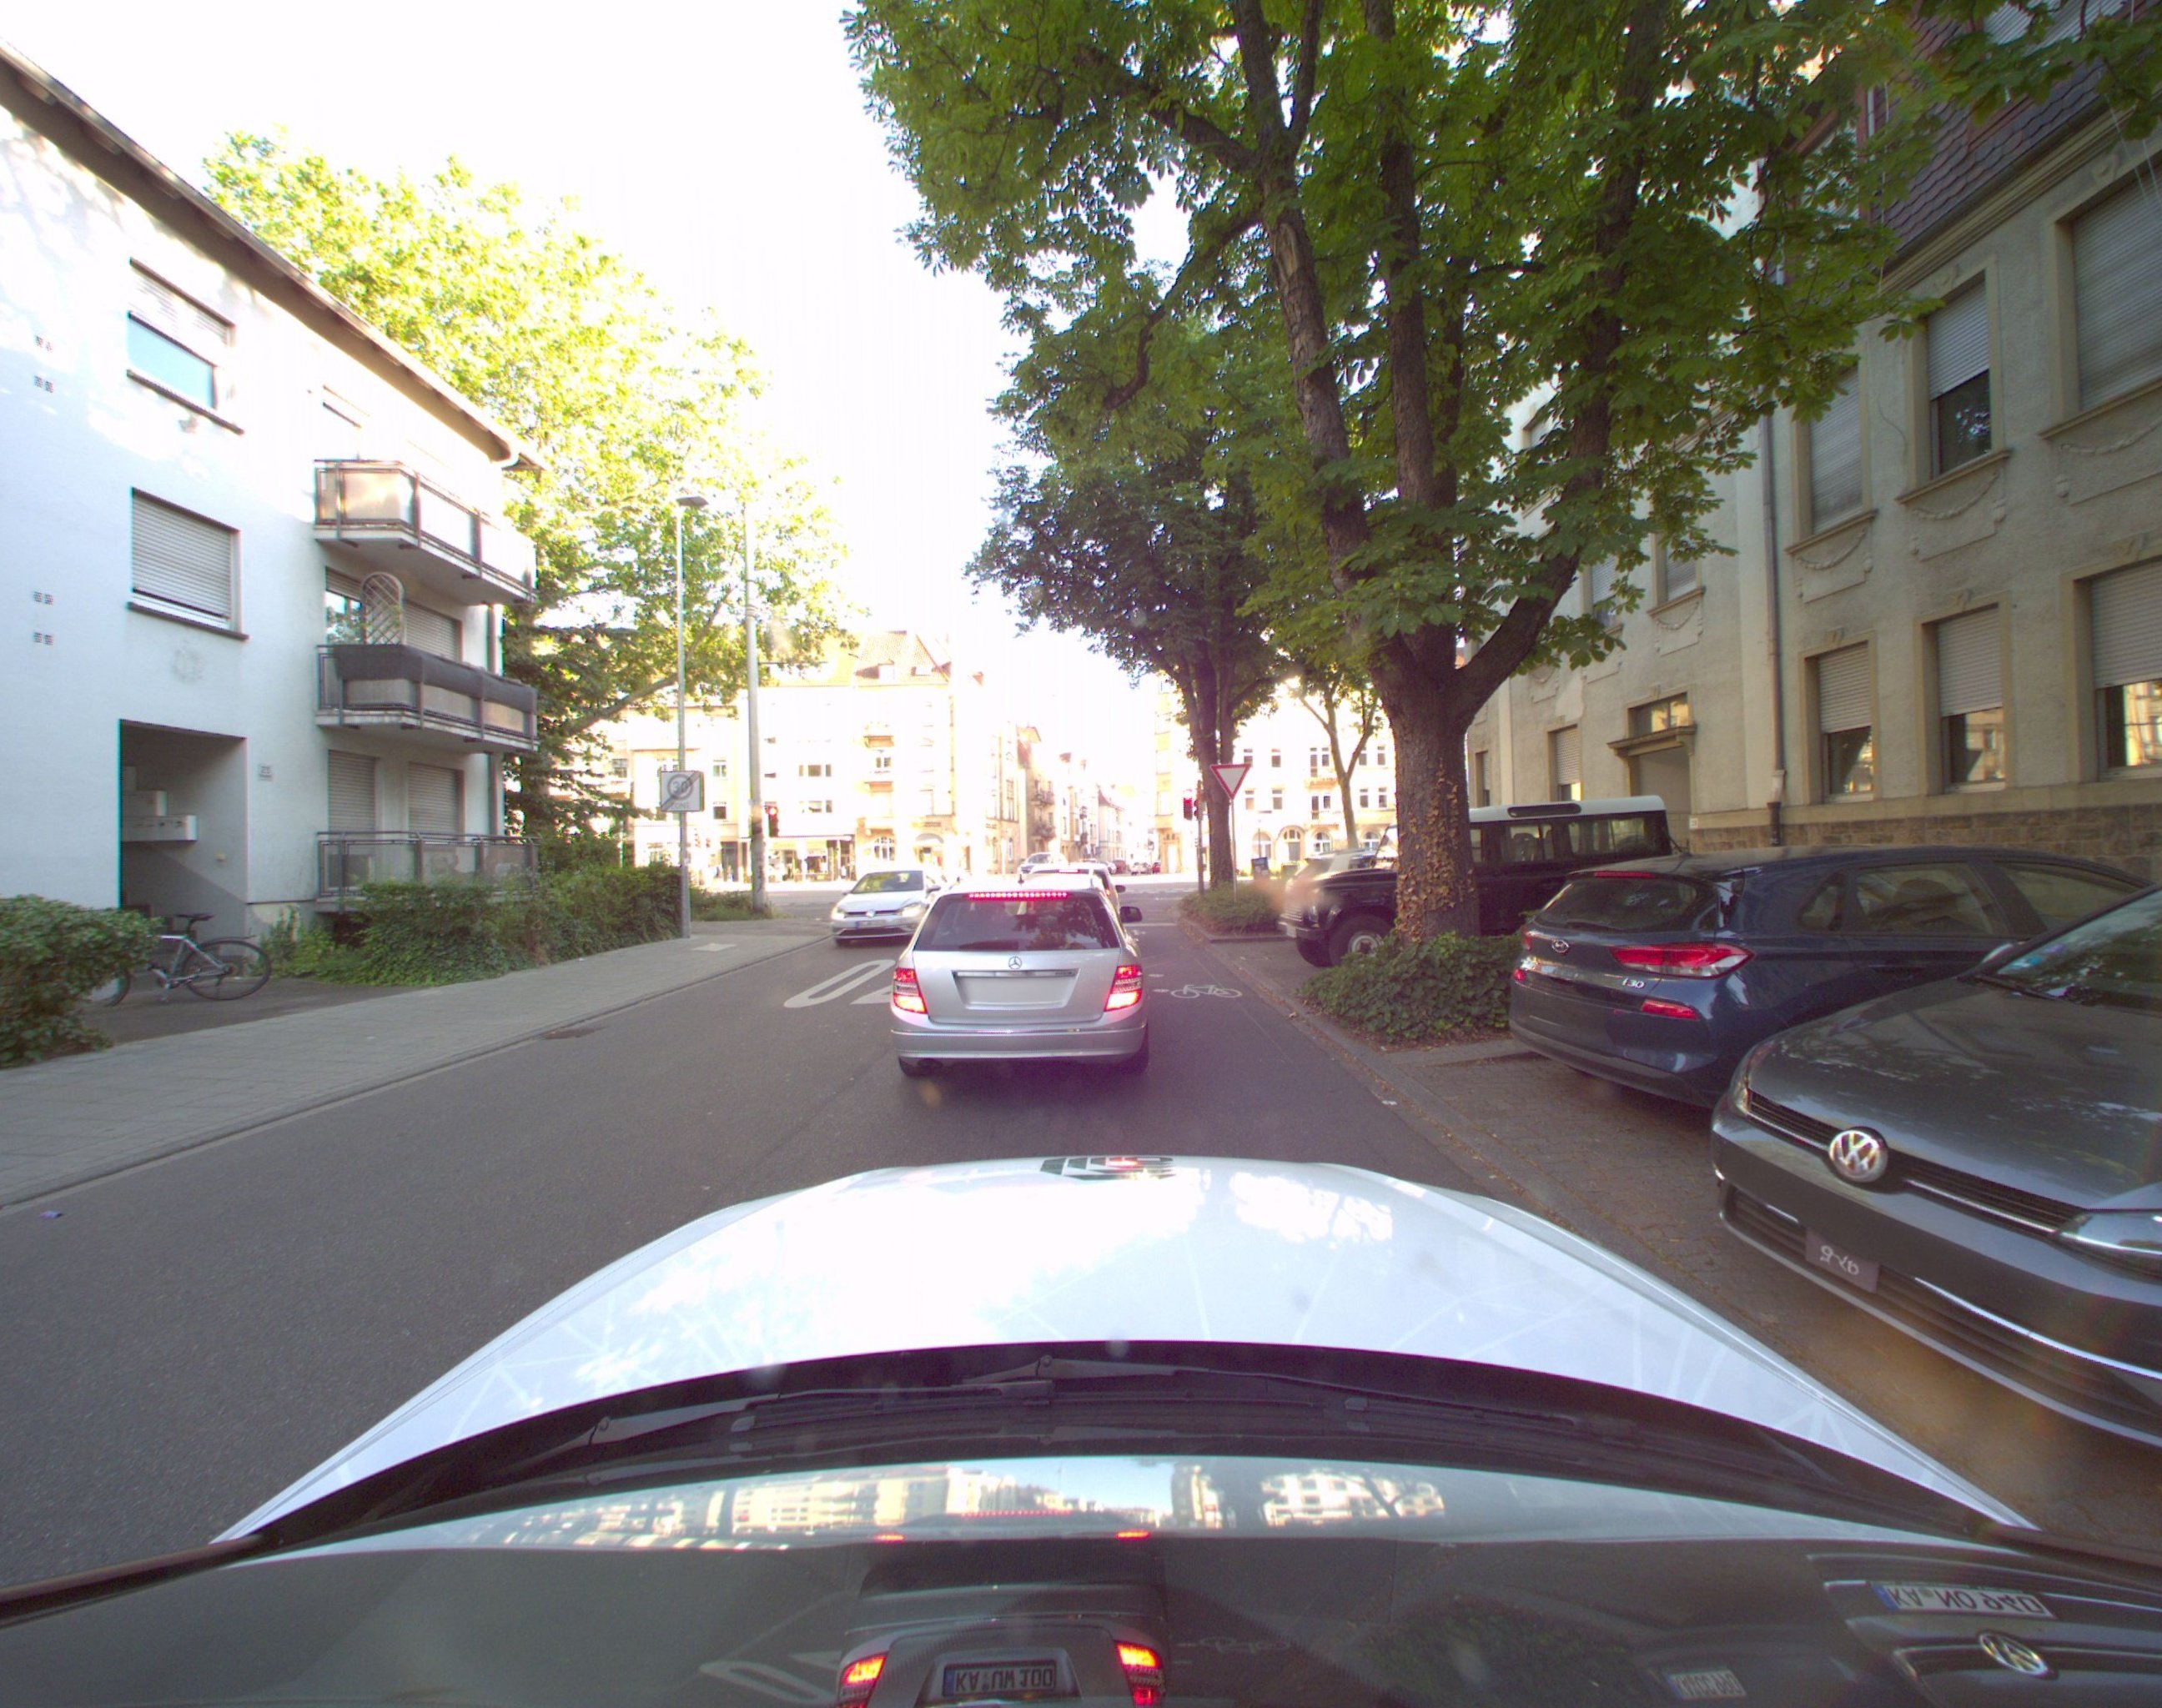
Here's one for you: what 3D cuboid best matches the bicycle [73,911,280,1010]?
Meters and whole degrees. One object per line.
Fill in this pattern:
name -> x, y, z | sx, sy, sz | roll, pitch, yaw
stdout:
bicycle -> -10.007, 1.154, 9.082 | 1.469, 0.975, 0.402 | 2, -2, -38

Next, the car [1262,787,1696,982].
car -> 4.758, 0.349, 10.194 | 4.478, 1.956, 1.792 | -3, 0, -1

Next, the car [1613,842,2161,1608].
car -> 4.077, 0.658, 2.313 | 4.037, 1.422, 1.627 | -3, -1, -2

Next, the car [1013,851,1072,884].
car -> -1.904, 0.665, 41.264 | 1.602, 1.501, 3.611 | -1, 1, 21

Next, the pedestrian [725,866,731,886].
pedestrian -> -28.112, 1.757, 64.860 | 0.431, 1.511, 0.471 | -1, 0, -20

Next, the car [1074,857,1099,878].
car -> 0.601, 1.353, 83.530 | 1.926, 1.958, 4.161 | -2, 0, 10

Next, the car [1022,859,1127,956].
car -> -0.081, 0.798, 13.797 | 1.528, 1.391, 3.599 | -1, 0, 0

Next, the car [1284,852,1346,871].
car -> 14.186, 0.467, 49.488 | 3.352, 1.069, 1.380 | -2, 0, 0

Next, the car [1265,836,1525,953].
car -> 4.952, 0.609, 13.133 | 3.475, 1.586, 1.708 | -3, 0, -5

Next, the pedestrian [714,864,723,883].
pedestrian -> -28.365, 1.512, 63.755 | 0.566, 1.511, 0.499 | -1, 0, -17

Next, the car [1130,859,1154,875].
car -> 6.461, 1.318, 85.893 | 1.708, 1.478, 4.016 | -3, 0, 14

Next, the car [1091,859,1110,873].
car -> 2.524, 1.534, 102.552 | 1.639, 1.783, 3.876 | -1, -1, 13

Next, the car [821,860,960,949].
car -> -3.716, 0.915, 16.682 | 1.775, 1.462, 4.299 | -3, 0, 0

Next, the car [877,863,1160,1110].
car -> -0.391, 0.806, 6.620 | 1.685, 1.429, 3.491 | 0, 0, -1

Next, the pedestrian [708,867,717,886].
pedestrian -> -29.417, 1.792, 65.012 | 0.539, 1.511, 0.504 | -1, -1, -40

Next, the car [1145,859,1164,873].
car -> 9.218, 1.457, 102.032 | 1.709, 1.478, 4.016 | -6, -1, 14

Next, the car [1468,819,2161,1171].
car -> 4.426, 0.611, 4.508 | 3.739, 1.422, 1.627 | -3, -1, -2
